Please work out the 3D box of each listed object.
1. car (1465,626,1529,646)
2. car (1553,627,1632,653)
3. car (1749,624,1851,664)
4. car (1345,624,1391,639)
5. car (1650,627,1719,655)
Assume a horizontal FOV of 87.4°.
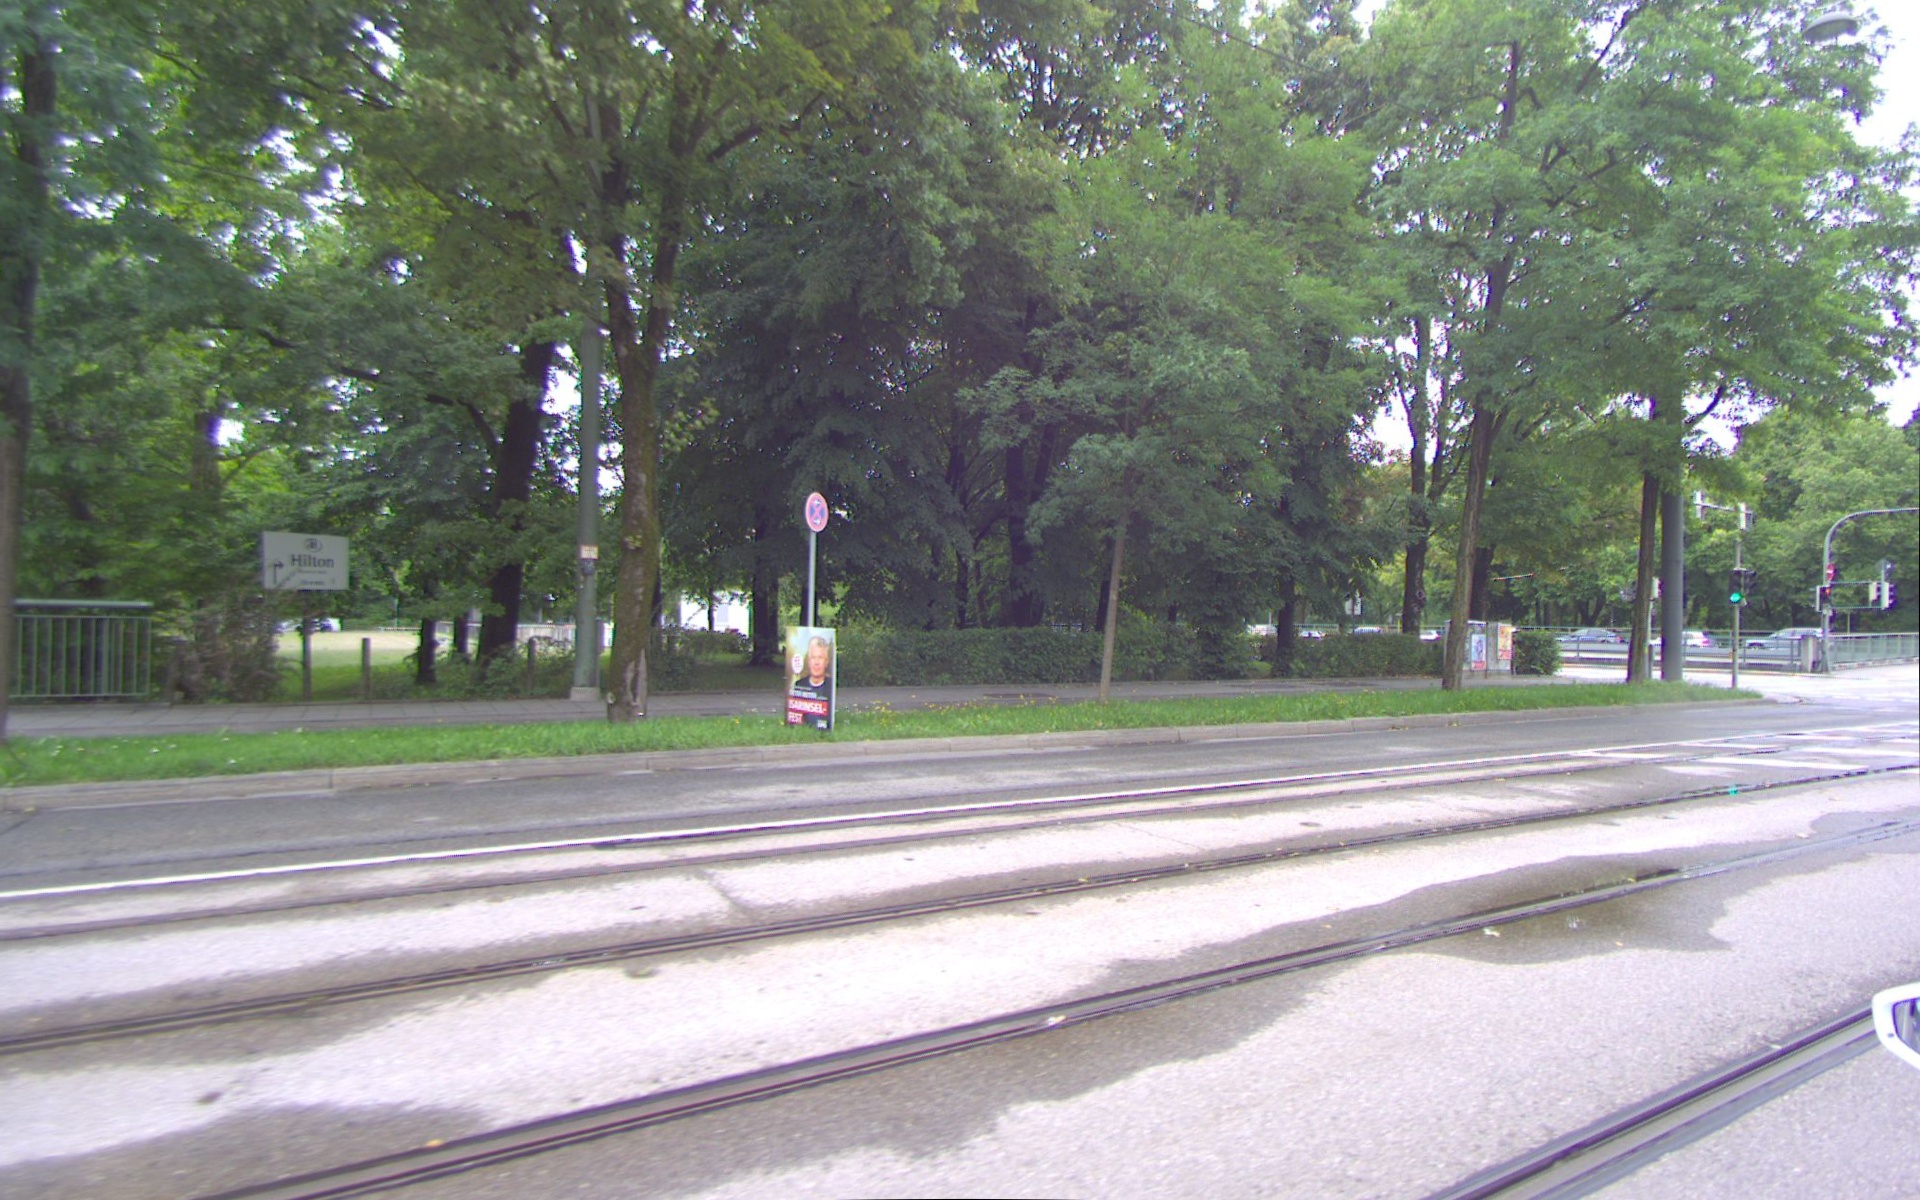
[{"bbox_3d":[36.926,2.469,69.157,1.238,1.201,3.704,2,0,-34],"label":"car"},{"bbox_3d":[40.216,2.534,63.953,1.703,1.423,3.900,2,0,-33],"label":"car"},{"bbox_3d":[46.125,2.382,55.228,1.476,1.912,3.994,2,0,-36],"label":"car"},{"bbox_3d":[31.314,2.385,77.183,1.238,0.985,3.090,2,0,-34],"label":"car"},{"bbox_3d":[42.963,2.436,59.620,1.238,1.471,3.090,2,0,-34],"label":"car"}]
